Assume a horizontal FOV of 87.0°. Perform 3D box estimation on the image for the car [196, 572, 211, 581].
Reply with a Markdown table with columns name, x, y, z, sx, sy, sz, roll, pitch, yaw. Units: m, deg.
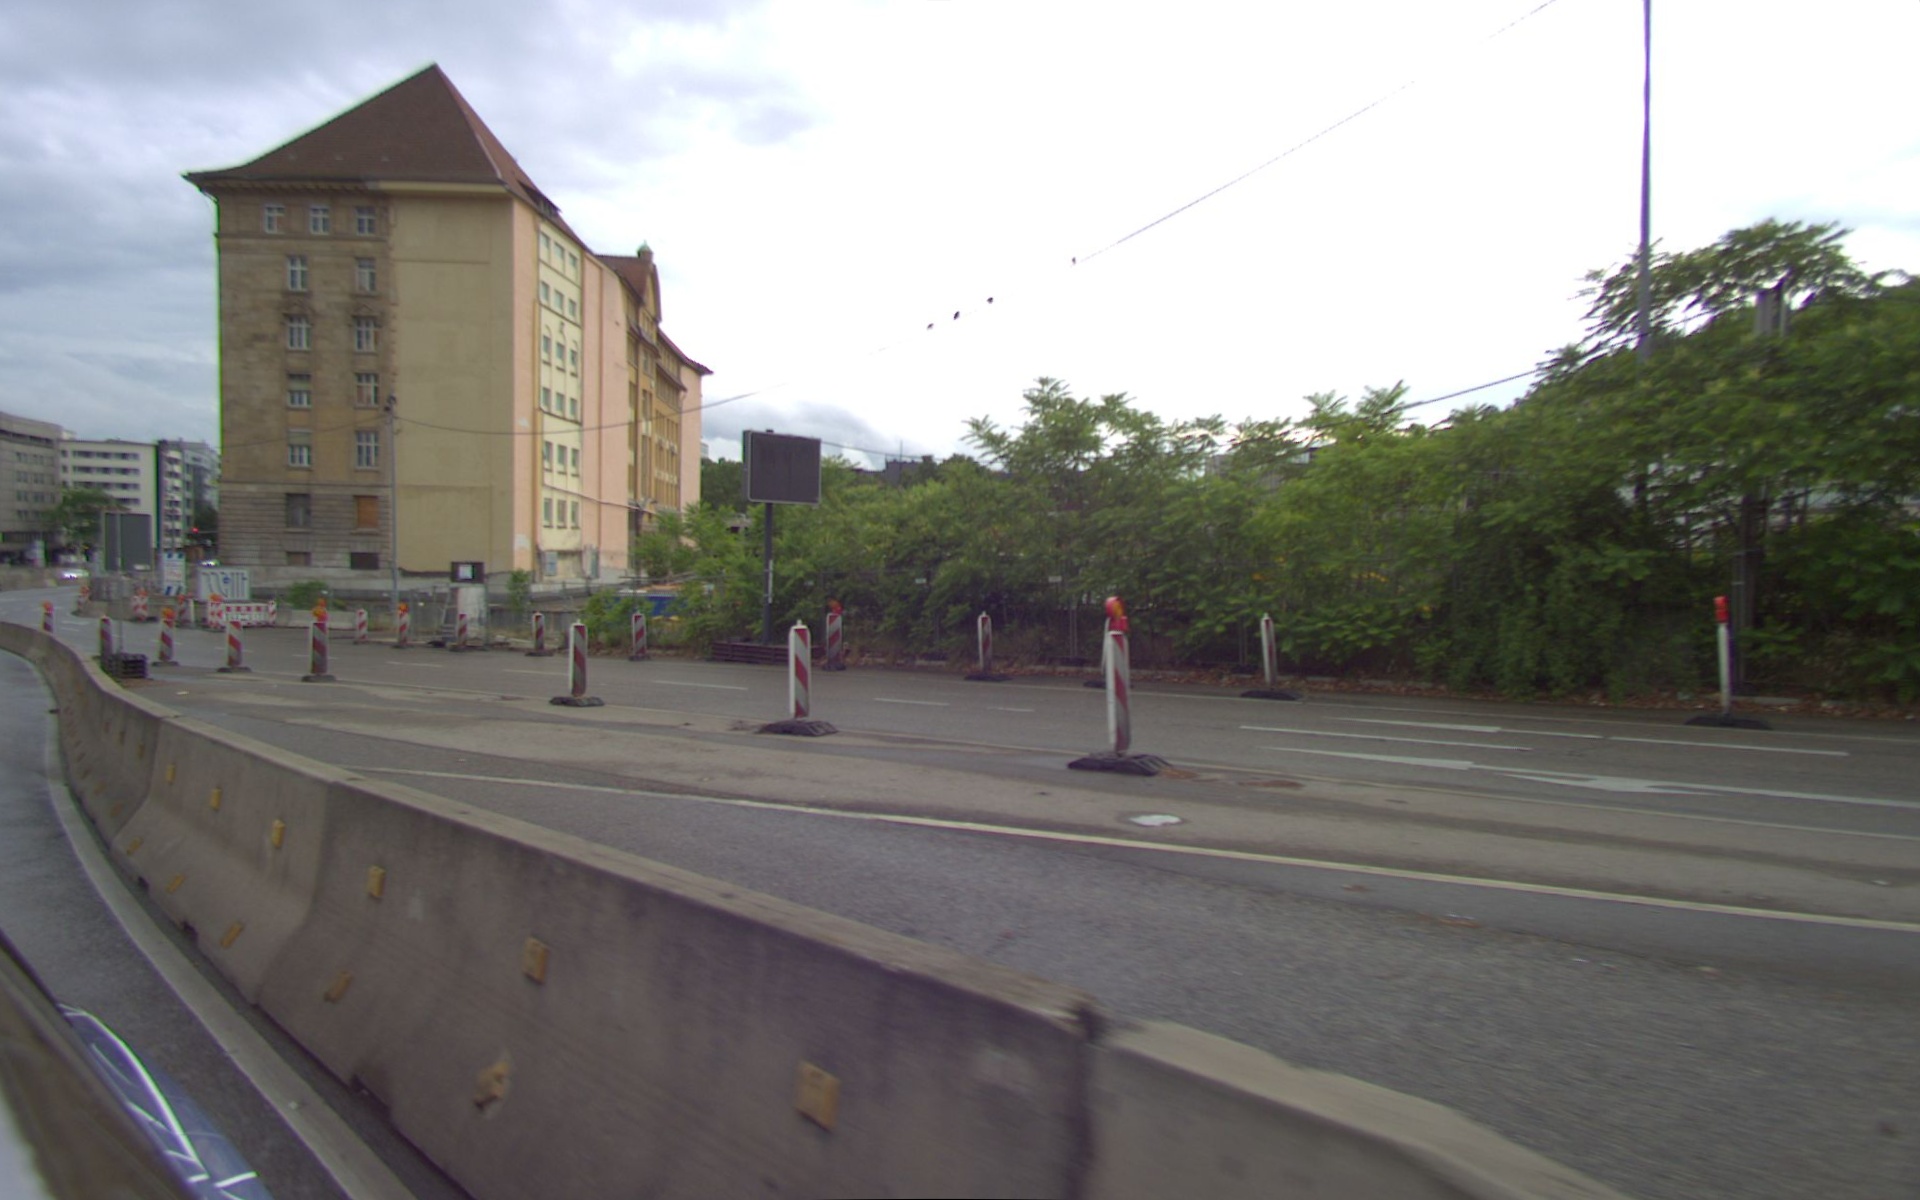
| name | x | y | z | sx | sy | sz | roll | pitch | yaw |
| --- | --- | --- | --- | --- | --- | --- | --- | --- | --- |
| car | -151.359 | -4.718 | 202.473 | 1.966 | 1.862 | 4.013 | 0 | 2 | -30 |
